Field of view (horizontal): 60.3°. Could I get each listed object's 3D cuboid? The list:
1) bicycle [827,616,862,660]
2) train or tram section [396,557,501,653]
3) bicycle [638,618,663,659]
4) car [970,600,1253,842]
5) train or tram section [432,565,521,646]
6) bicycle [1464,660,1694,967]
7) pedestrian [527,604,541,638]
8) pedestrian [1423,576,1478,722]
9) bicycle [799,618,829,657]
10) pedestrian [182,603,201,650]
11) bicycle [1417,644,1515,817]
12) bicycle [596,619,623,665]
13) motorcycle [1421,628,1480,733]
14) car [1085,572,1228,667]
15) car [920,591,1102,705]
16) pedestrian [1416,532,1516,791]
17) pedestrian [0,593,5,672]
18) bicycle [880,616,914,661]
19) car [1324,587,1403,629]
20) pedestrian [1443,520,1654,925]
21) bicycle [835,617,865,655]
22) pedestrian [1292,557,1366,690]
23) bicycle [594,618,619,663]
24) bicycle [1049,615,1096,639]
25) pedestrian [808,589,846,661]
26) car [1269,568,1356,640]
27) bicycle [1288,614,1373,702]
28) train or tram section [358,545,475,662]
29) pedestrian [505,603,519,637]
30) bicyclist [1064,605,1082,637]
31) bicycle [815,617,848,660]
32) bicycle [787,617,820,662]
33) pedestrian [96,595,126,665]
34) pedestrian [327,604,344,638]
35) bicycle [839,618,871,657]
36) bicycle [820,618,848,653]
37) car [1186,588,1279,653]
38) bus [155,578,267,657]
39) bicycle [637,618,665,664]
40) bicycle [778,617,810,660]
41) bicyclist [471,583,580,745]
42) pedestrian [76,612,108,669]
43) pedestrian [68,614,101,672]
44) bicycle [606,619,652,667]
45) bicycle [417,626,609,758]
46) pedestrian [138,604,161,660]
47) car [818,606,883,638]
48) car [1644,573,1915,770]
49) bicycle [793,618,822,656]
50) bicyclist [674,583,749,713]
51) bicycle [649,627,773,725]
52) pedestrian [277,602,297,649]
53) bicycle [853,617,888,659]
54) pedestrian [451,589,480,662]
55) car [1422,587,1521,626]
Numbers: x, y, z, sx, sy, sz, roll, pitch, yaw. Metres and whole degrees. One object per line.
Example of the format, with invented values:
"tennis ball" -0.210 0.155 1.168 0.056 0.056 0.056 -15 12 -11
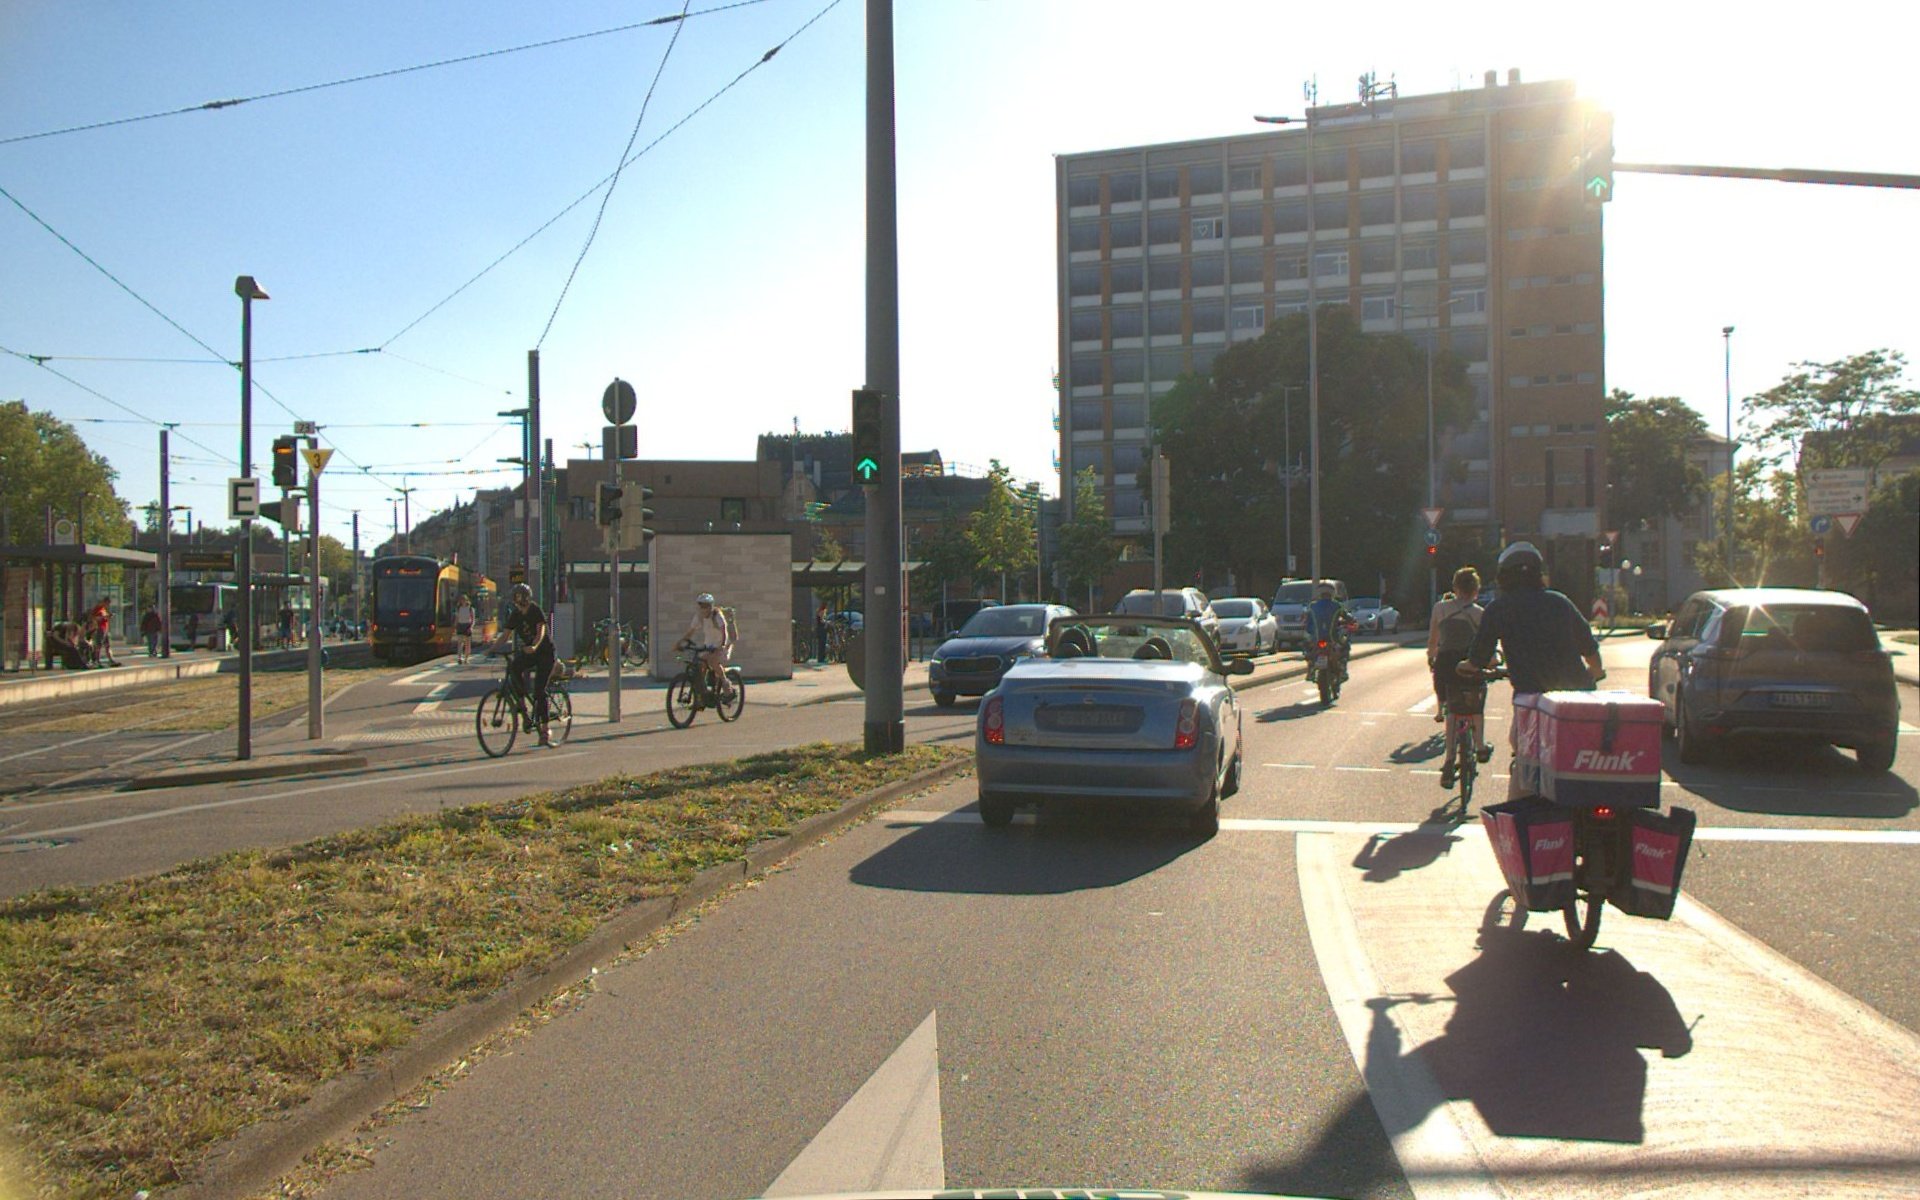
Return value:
"bicycle" -3.041 0.983 43.322 0.596 1.134 1.890 1 -1 -14
"train or tram section" -21.470 0.226 70.074 2.959 3.660 12.164 1 -1 -12
"bicycle" -9.013 1.111 48.176 0.596 1.134 1.890 1 -1 -14
"car" 1.295 0.771 12.401 1.625 1.466 4.158 1 -1 12
"train or tram section" -23.782 0.294 81.918 2.985 3.660 12.019 1 -1 -11
"bicycle" 2.911 0.920 8.001 0.542 1.192 2.374 1 -1 8
"pedestrian" -22.179 1.081 86.172 0.628 1.779 0.731 -1 -1 -20
"pedestrian" 5.611 0.549 18.955 0.575 1.626 1.025 1 -1 16
"bicycle" -4.343 1.108 49.078 0.596 1.134 1.890 1 -1 -14
"pedestrian" -29.415 1.011 63.320 0.562 1.779 0.636 -1 -1 -21
"bicycle" 3.807 0.936 12.543 0.552 1.171 1.951 1 -1 13
"bicycle" -8.897 1.048 41.910 0.596 1.134 1.890 1 -1 -14
"motorcycle" 5.631 0.887 19.048 0.600 1.117 2.361 1 -1 16
"car" 4.044 0.375 33.389 1.725 1.736 4.530 -3 -1 22
"car" 0.875 0.715 25.645 1.700 1.601 3.925 1 -1 19
"pedestrian" 3.857 0.456 12.659 0.645 1.901 0.873 1 -1 13
"pedestrian" -21.904 0.743 37.196 0.527 1.779 0.559 -1 -1 -7
"bicycle" -1.668 1.011 43.675 0.596 1.134 1.891 1 -1 -11
"car" 15.895 0.299 64.989 1.767 1.557 3.989 -2 -1 33
"pedestrian" 2.930 0.581 8.330 0.789 1.901 0.957 1 -1 7
"bicycle" -3.433 1.104 51.287 0.596 1.134 1.890 1 -1 -14
"pedestrian" 5.408 0.339 24.223 0.817 1.901 0.919 1 -1 28
"bicycle" -9.368 1.058 43.818 0.596 1.134 1.891 1 -1 -12
"bicycle" 5.829 1.396 85.720 2.361 1.212 0.609 1 -1 29
"pedestrian" -3.553 0.671 44.259 0.885 1.901 0.684 1 -1 -14
"car" 10.631 0.127 49.680 1.869 1.979 4.707 -3 -1 20
"bicycle" 5.461 0.826 24.283 0.596 1.212 2.411 1 -1 28
"train or tram section" -18.889 0.150 58.175 2.832 3.660 12.156 1 -1 -13
"pedestrian" -23.636 1.036 87.240 0.593 1.779 0.830 -1 0 -9
"bicyclist" 5.855 1.106 85.719 0.737 1.626 0.588 1 -1 28
"bicycle" -3.529 1.052 45.235 0.596 1.134 1.890 1 -1 -14
"bicycle" -4.089 1.023 43.141 0.596 1.134 1.890 1 -1 -14
"pedestrian" -21.620 0.759 42.112 0.561 1.779 0.636 -1 -1 -19
"pedestrian" -32.884 1.100 87.080 0.720 1.779 0.638 -1 0 -9
"bicycle" -3.143 1.114 49.326 0.596 1.134 1.890 1 -1 -14
"bicycle" -4.188 1.164 54.766 0.596 1.134 1.890 1 -1 -14
"car" 7.050 0.507 42.482 1.659 1.588 3.981 -1 0 20
"bus" -34.543 0.792 76.784 2.676 3.331 13.407 1 -1 -16
"bicycle" -7.900 1.035 42.278 0.596 1.134 1.890 1 -1 -14
"bicycle" -4.542 1.045 45.203 0.596 1.134 1.890 1 -1 -14
"bicyclist" -4.719 0.686 18.005 0.694 1.686 0.901 -3 -1 20
"pedestrian" -21.127 0.972 40.264 0.561 1.369 0.636 -1 0 -19
"pedestrian" -20.956 1.023 39.587 0.606 1.364 0.438 -1 -1 -19
"bicycle" -8.055 1.038 40.336 0.594 1.134 1.897 1 -1 4
"bicycle" -4.762 0.950 17.844 0.660 1.272 2.457 -3 -1 20
"pedestrian" -26.107 1.034 53.257 0.630 1.779 0.567 -1 -1 -29
"car" -5.737 1.140 86.455 1.630 1.588 3.547 -1 0 -41
"car" 8.219 0.657 16.970 1.793 1.719 4.371 1 -1 17
"bicycle" -4.714 1.133 51.032 0.596 1.134 1.890 1 -1 -14
"bicyclist" -3.303 0.631 22.045 0.694 1.686 0.743 -1 -1 20
"bicycle" -3.288 0.982 22.077 0.660 1.201 2.184 -1 0 20
"pedestrian" -25.522 0.964 62.686 0.630 1.779 0.567 -1 -1 -29
"bicycle" -2.475 1.042 45.662 0.596 1.134 1.890 1 -1 -14
"pedestrian" -12.199 0.619 40.805 0.628 1.779 0.568 -1 -1 -21
"car" 22.143 0.286 71.587 3.940 1.557 1.789 -2 -1 -27
